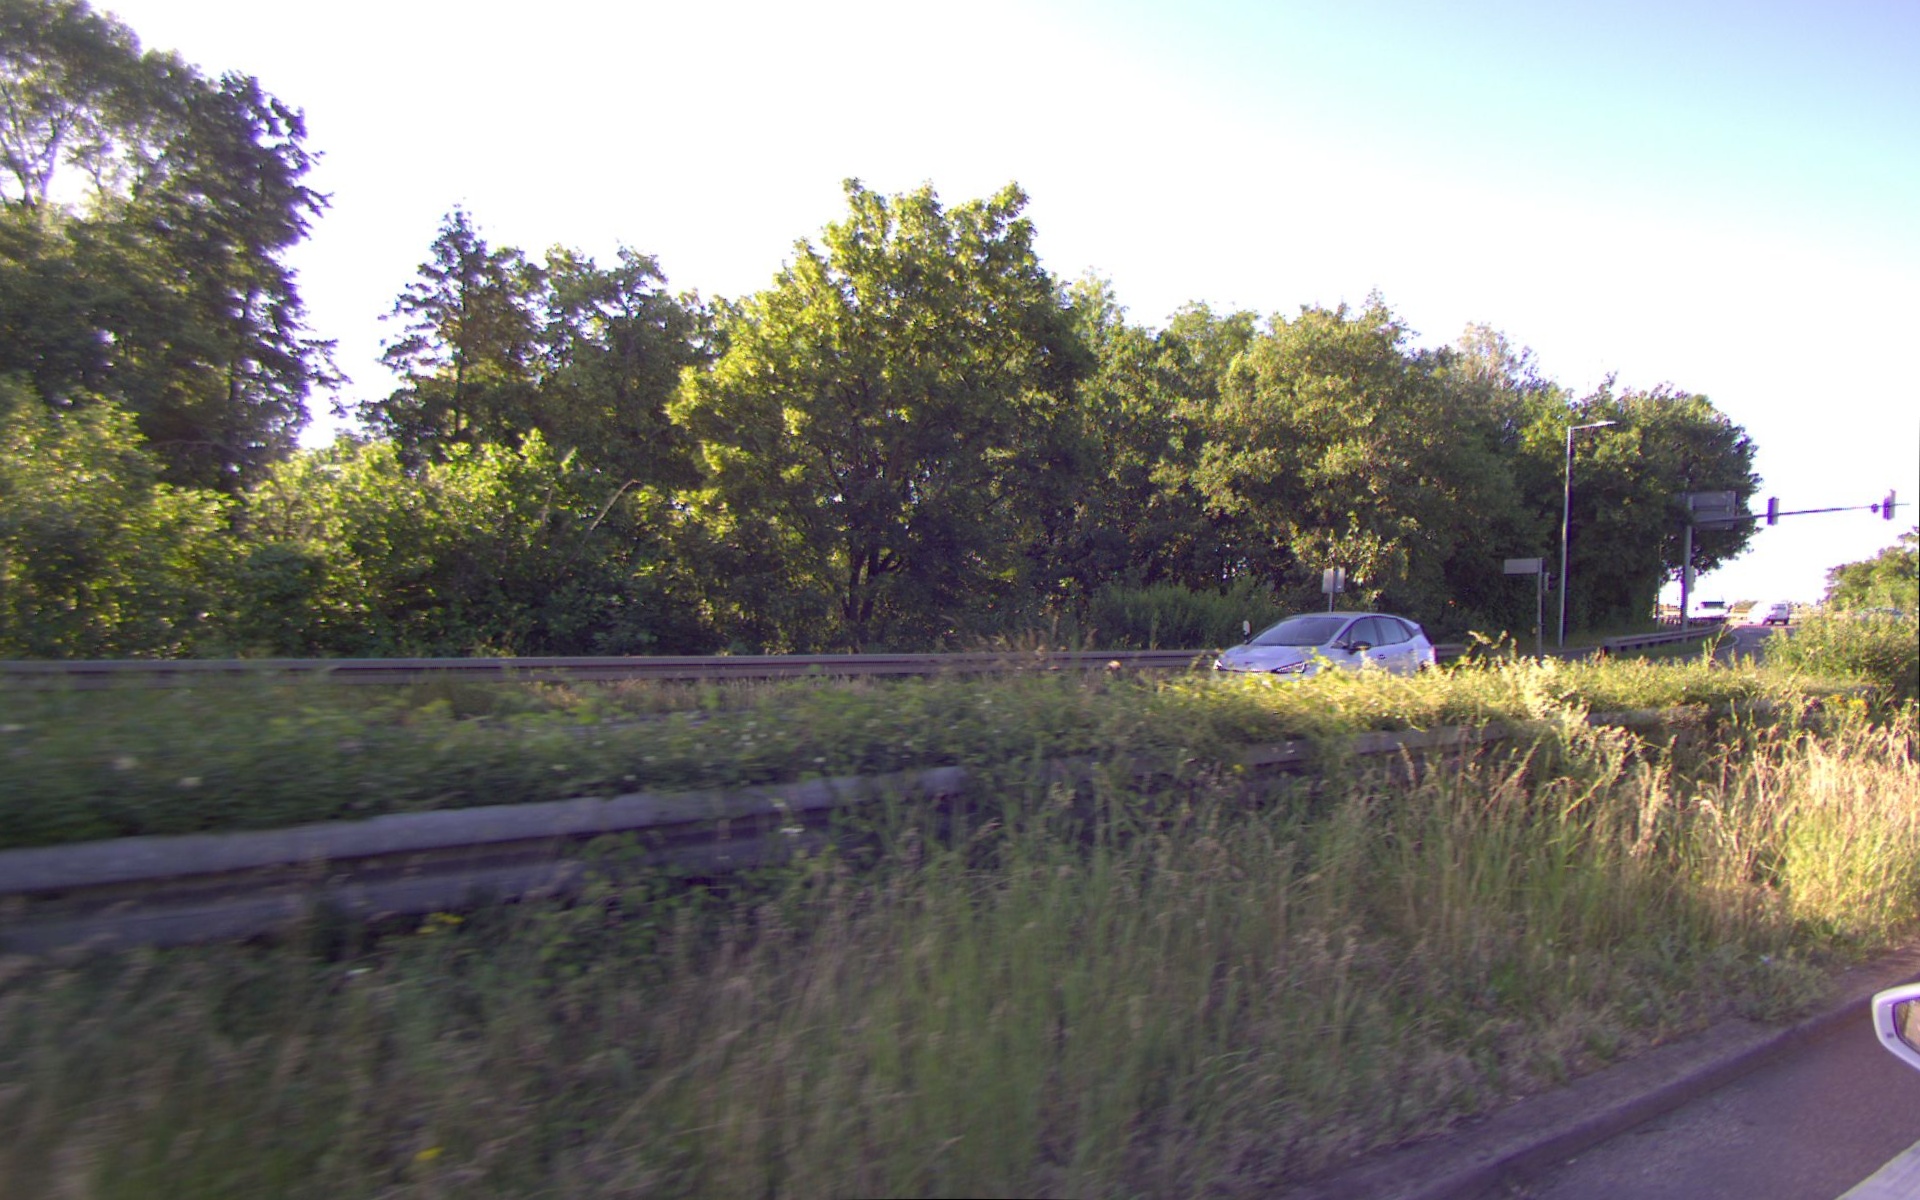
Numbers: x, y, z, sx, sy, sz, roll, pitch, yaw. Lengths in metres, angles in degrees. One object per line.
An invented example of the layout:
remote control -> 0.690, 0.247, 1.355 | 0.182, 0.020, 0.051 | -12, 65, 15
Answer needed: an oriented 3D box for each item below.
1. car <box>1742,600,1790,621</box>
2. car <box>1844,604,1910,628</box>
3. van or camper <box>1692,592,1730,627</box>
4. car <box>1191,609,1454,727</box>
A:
car -> 68.817, 0.881, 85.816 | 1.936, 1.721, 4.000 | 1, 1, 20
car -> 63.222, 1.099, 69.335 | 1.937, 1.494, 4.153 | 1, 1, 21
van or camper -> 61.832, 0.750, 82.781 | 2.021, 2.709, 6.914 | 1, 0, 33
car -> 5.652, 0.945, 15.449 | 4.179, 1.540, 1.871 | 1, 0, -38
